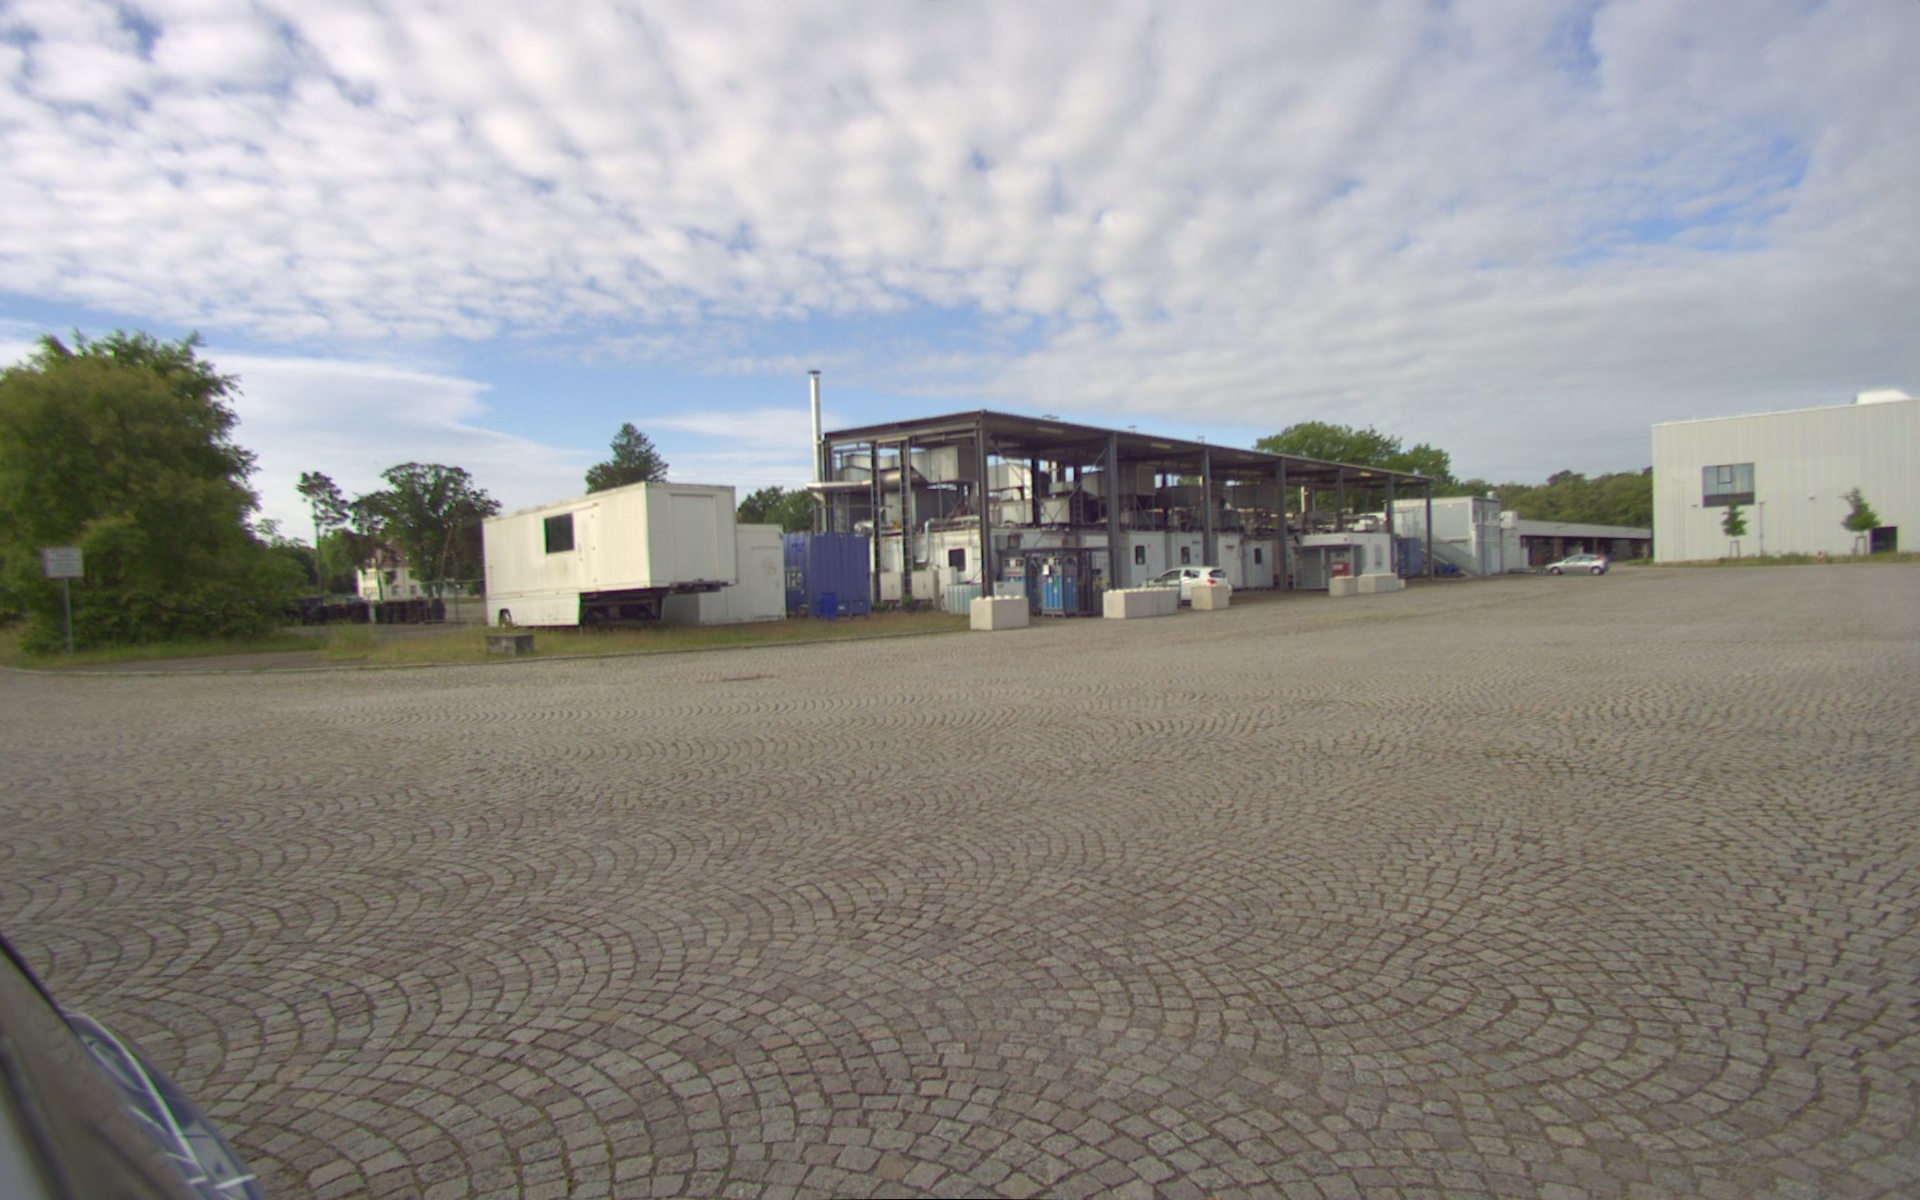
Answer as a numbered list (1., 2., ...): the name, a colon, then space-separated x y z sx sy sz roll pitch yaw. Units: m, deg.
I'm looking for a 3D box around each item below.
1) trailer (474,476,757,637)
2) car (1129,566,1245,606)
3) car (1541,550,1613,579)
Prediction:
1. trailer: -9.944 -0.960 28.054 10.782 3.689 2.837 -1 1 45
2. car: 8.828 -0.516 39.463 3.997 1.484 1.908 -1 0 40
3. car: 45.805 -2.642 75.160 4.305 1.961 1.974 -2 1 40
